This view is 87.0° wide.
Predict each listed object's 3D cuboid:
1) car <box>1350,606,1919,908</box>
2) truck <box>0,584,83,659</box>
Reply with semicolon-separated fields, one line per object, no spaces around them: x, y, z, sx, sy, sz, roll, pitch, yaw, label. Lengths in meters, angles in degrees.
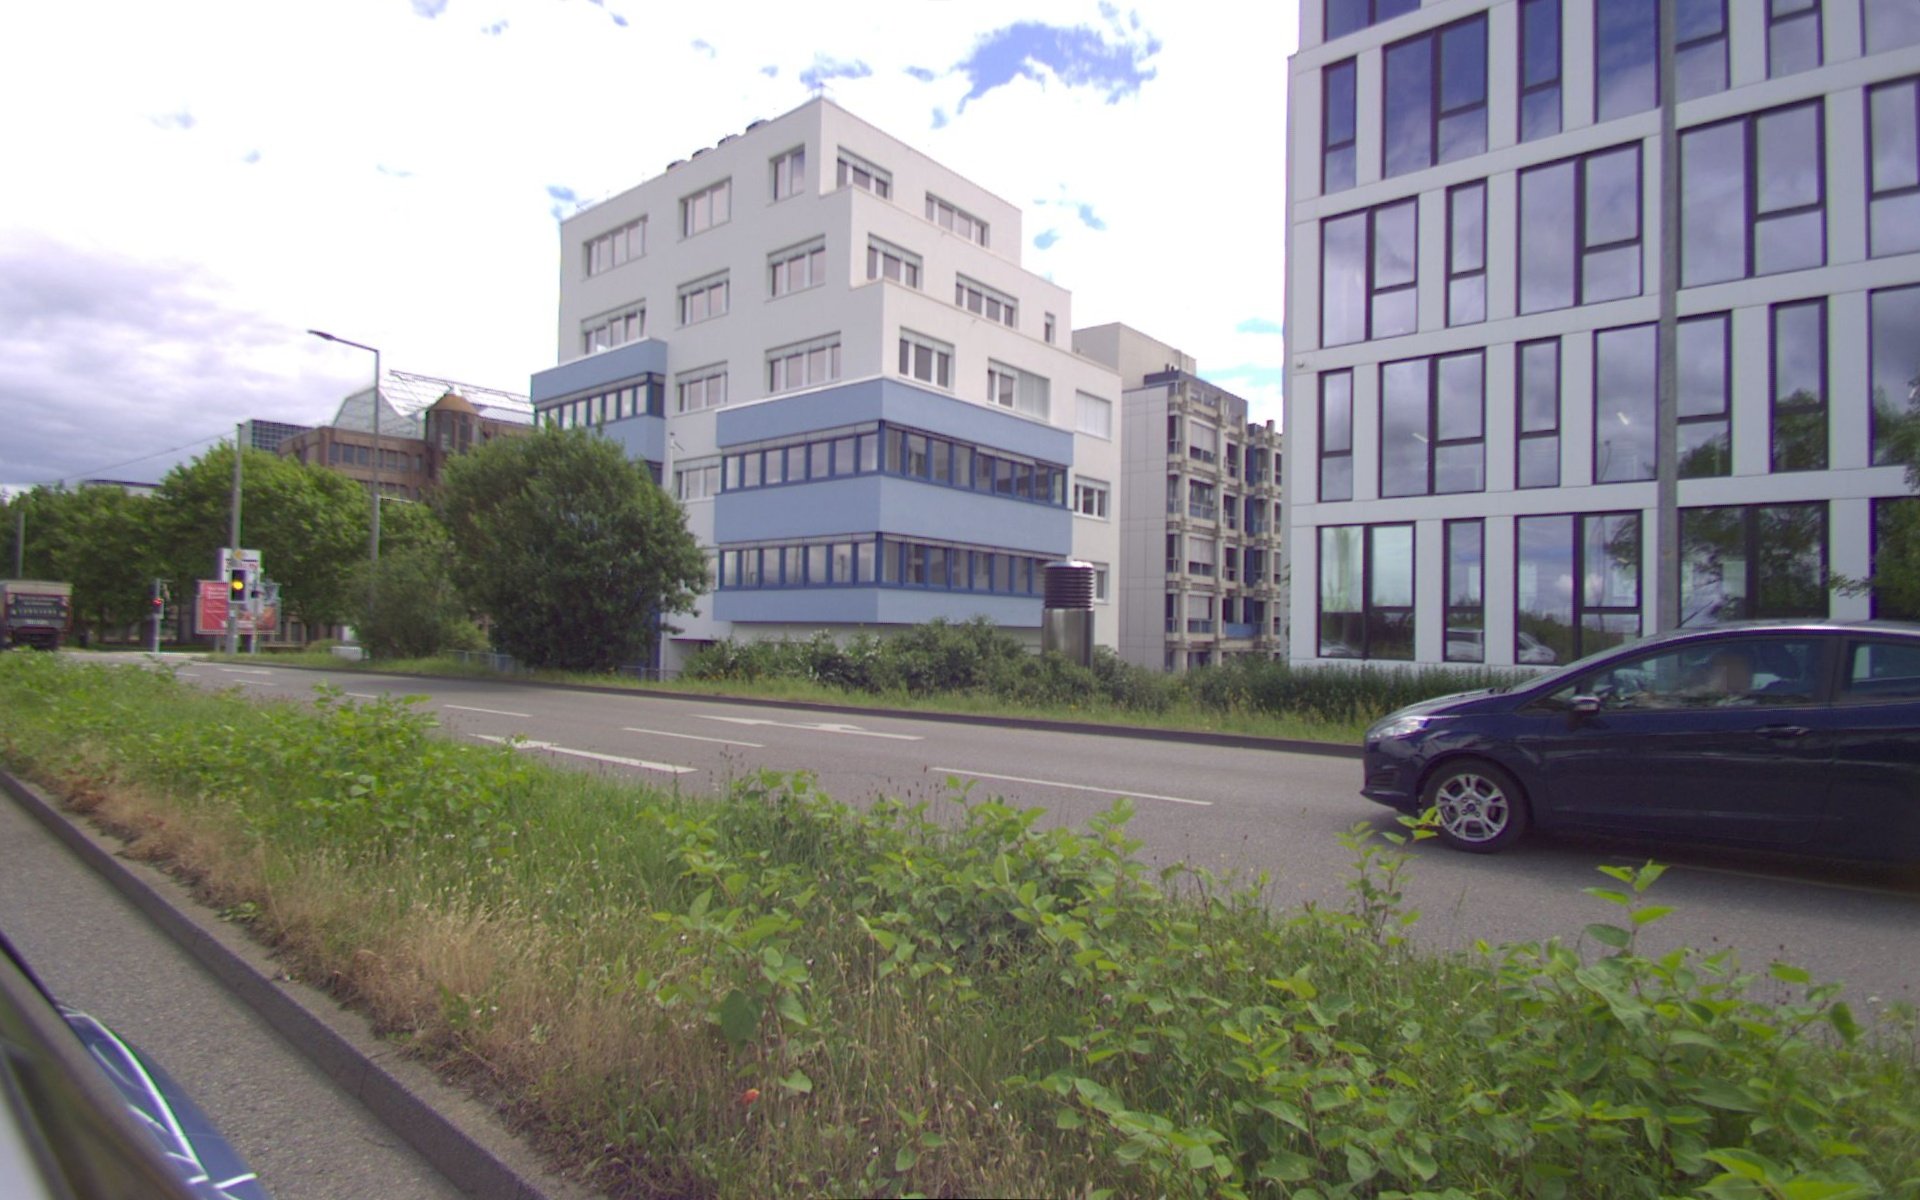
4.608;0.774;6.102;3.886;1.457;1.738;0;0;38;car
-48.206;1.086;52.084;9.519;3.545;3.135;-1;-3;40;truck
